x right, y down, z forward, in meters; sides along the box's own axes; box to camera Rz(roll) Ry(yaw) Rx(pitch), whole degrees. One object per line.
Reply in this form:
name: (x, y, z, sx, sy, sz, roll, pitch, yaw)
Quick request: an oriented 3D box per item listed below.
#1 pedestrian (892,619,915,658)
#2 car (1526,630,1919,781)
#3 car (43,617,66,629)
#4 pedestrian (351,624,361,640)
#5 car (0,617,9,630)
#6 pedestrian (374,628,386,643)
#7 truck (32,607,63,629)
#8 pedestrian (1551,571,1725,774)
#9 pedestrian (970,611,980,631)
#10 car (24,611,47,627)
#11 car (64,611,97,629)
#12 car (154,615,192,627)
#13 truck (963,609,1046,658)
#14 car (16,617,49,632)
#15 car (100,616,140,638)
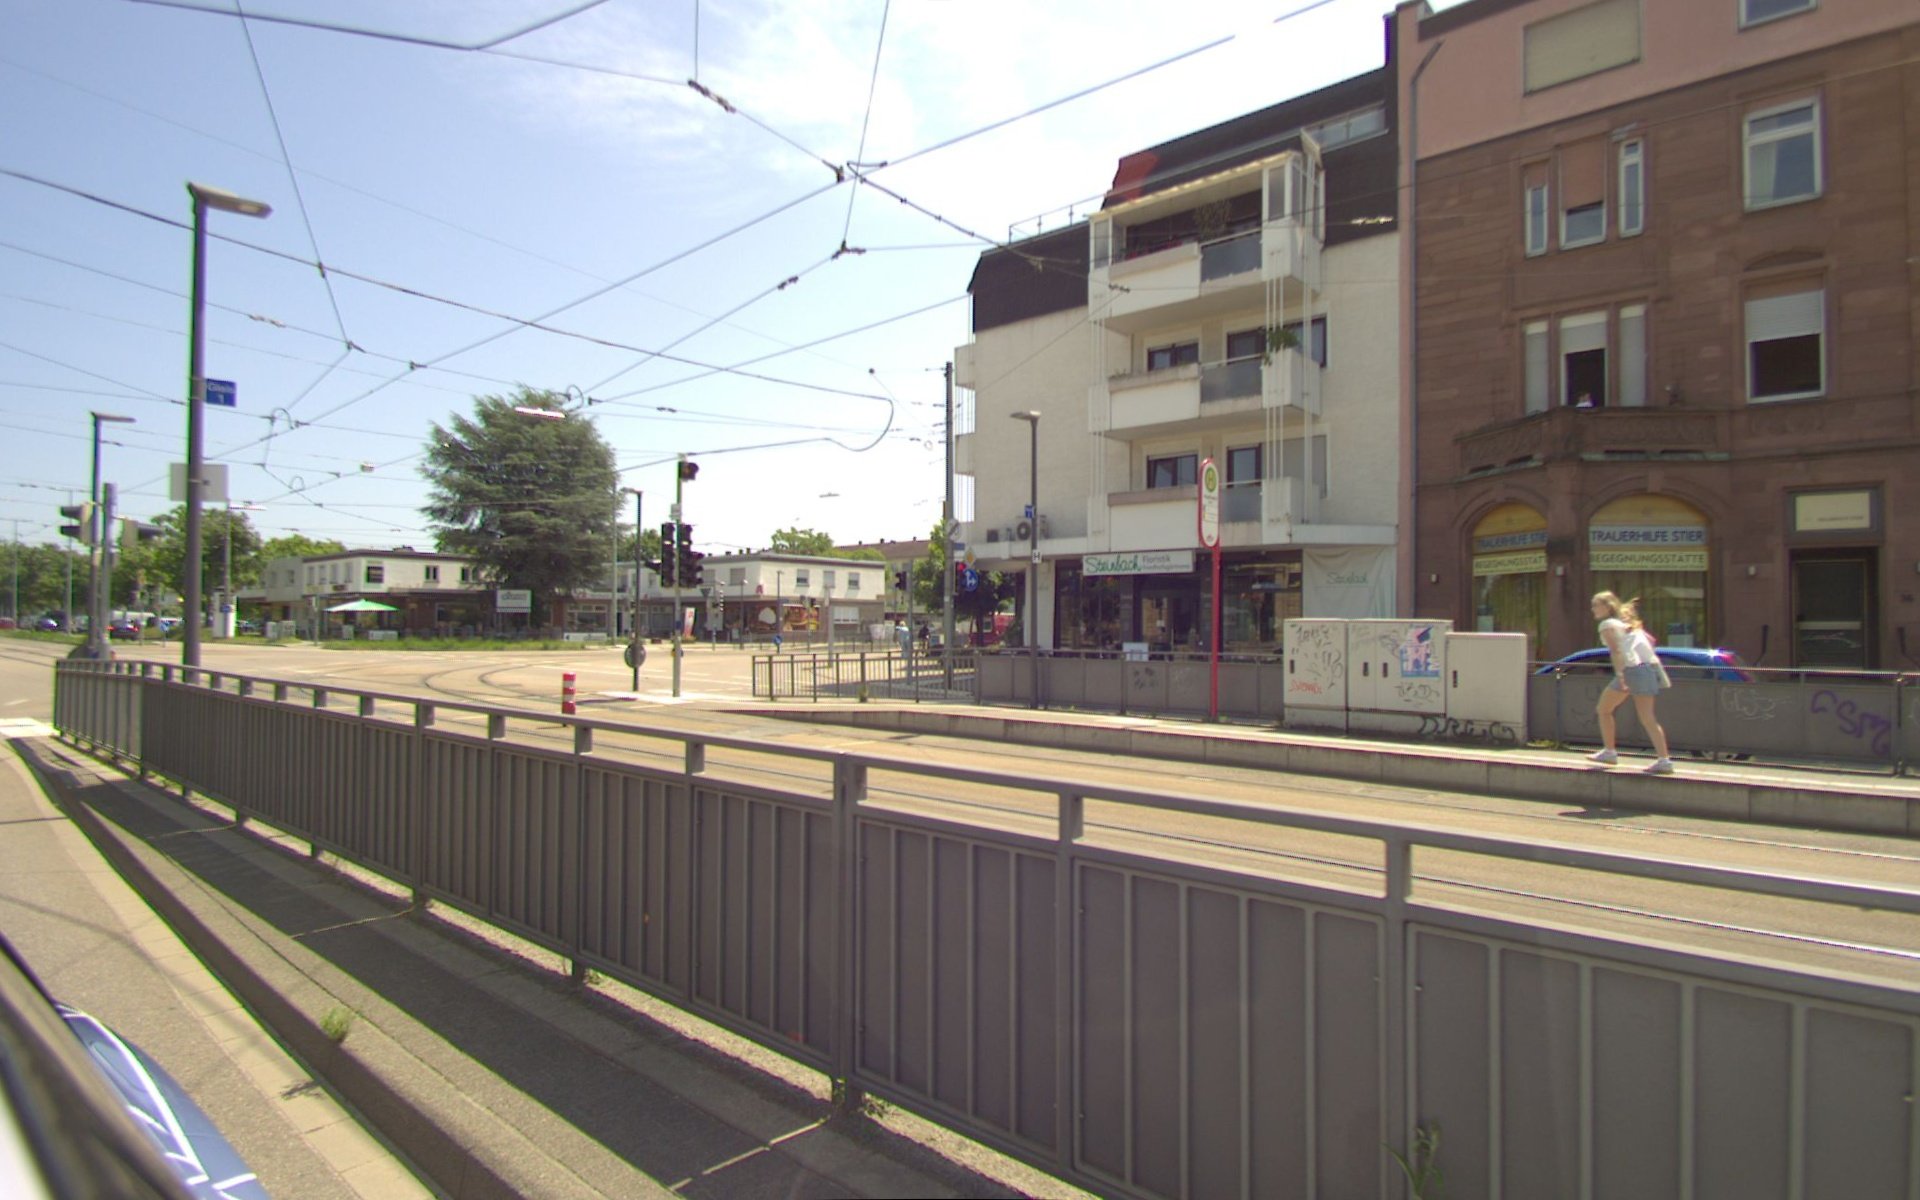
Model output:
pedestrian: (-2.500, 1.710, 44.789, 0.691, 1.709, 0.809, 2, -2, -41)
car: (9.370, 1.149, 12.293, 4.001, 1.519, 1.971, -1, -2, 44)
car: (-105.215, 2.655, 117.562, 3.669, 1.397, 1.652, -1, -2, 43)
pedestrian: (-47.305, 2.491, 79.259, 0.674, 1.208, 0.512, -1, -2, 41)
car: (-112.646, 2.709, 118.171, 3.822, 1.495, 1.609, 0, -2, 37)
pedestrian: (-43.268, 2.632, 75.504, 0.674, 1.136, 0.512, -1, -2, 41)
truck: (-109.690, 2.180, 121.698, 4.927, 2.561, 2.196, -1, -2, 42)
pedestrian: (6.073, 0.614, 9.093, 0.753, 1.687, 1.103, 2, -2, -37)
pedestrian: (1.420, 2.020, 98.018, 0.679, 1.917, 0.640, -1, -2, 41)
car: (-119.683, 2.470, 130.980, 4.506, 1.989, 1.660, 0, -2, 41)
car: (-92.609, 2.115, 106.555, 4.660, 1.898, 1.972, 0, -2, 41)
car: (-98.788, 2.638, 127.056, 1.600, 1.517, 3.374, 0, -2, 36)
truck: (2.641, 1.949, 58.595, 2.186, 2.719, 4.973, -1, -2, 41)
car: (-88.505, 2.336, 96.521, 3.860, 1.449, 1.693, -1, -2, 38)
car: (-62.652, 2.008, 75.452, 4.495, 1.591, 1.774, -1, -2, 43)
